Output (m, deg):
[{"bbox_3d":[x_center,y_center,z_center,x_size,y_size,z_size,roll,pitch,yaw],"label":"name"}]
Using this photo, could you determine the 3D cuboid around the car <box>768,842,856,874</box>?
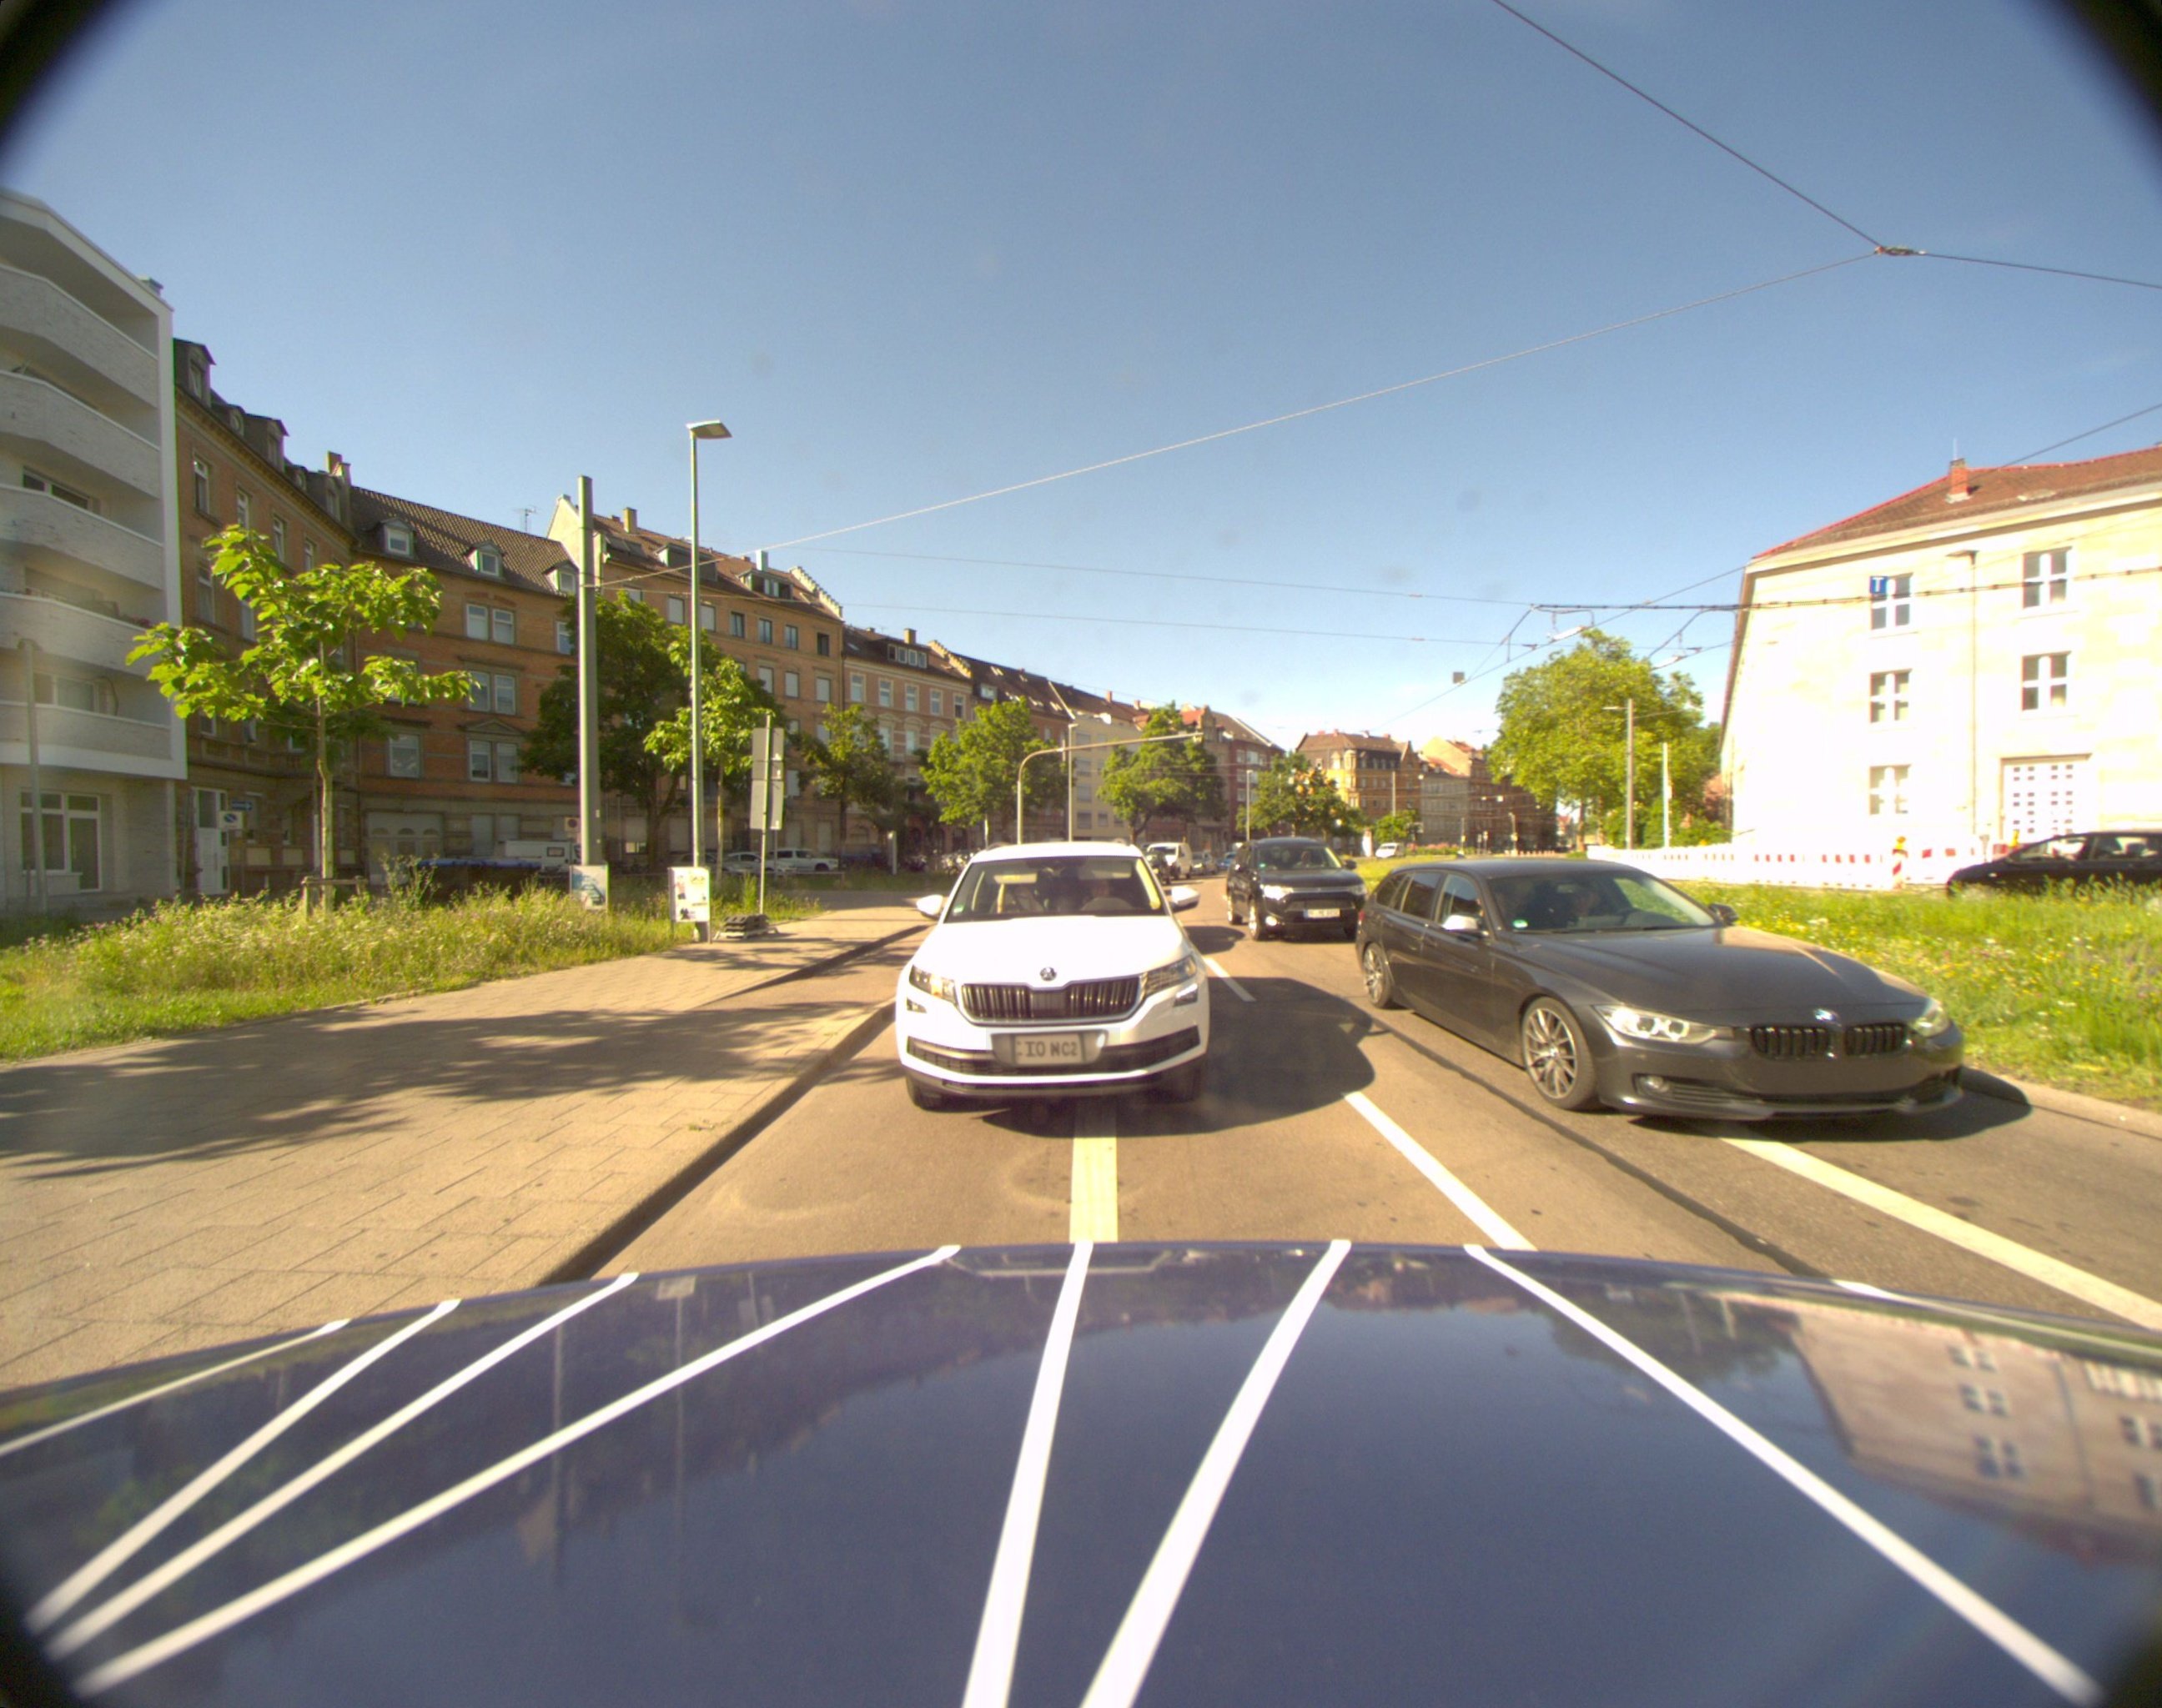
[{"bbox_3d":[-14.589,0.189,41.386,3.996,1.652,2.000,-1,1,3],"label":"car"}]

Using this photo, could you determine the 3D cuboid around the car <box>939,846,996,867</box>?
[{"bbox_3d":[-7.628,0.183,51.233,3.462,1.324,1.732,-1,1,3],"label":"car"}]

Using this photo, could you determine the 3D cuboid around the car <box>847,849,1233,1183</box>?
[{"bbox_3d":[-0.169,0.787,5.905,1.873,1.621,4.338,-1,1,1],"label":"car"}]

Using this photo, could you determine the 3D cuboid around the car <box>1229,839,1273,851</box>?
[{"bbox_3d":[18.900,-0.982,84.590,4.397,1.203,2.000,-1,1,3],"label":"car"}]

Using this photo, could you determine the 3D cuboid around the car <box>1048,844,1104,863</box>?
[{"bbox_3d":[-0.340,-0.031,61.272,4.397,1.453,2.000,-1,1,2],"label":"car"}]

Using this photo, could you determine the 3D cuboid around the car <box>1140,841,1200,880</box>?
[{"bbox_3d":[4.862,0.317,40.749,1.870,1.970,4.662,0,1,24],"label":"car"}]

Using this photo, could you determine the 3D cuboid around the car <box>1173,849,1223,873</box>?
[{"bbox_3d":[7.253,0.425,46.866,1.870,1.377,4.662,-1,1,24],"label":"car"}]

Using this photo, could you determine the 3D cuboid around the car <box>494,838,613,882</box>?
[{"bbox_3d":[-27.017,0.260,39.047,1.994,2.100,4.652,0,1,40],"label":"car"}]

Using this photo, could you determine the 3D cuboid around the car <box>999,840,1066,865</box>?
[{"bbox_3d":[-3.552,-0.119,56.111,4.789,1.761,1.732,-1,1,3],"label":"car"}]

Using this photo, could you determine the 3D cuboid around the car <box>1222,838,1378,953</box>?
[{"bbox_3d":[3.664,0.599,13.483,1.768,1.675,4.328,-2,1,4],"label":"car"}]

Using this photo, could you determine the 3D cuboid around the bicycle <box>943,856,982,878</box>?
[{"bbox_3d":[-5.702,0.616,36.613,1.764,1.018,0.567,-1,1,-26],"label":"bicycle"}]

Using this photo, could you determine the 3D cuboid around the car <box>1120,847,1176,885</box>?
[{"bbox_3d":[3.132,0.523,34.794,1.871,1.605,3.913,-1,1,15],"label":"car"}]

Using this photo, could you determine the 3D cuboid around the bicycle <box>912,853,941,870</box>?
[{"bbox_3d":[-9.349,0.458,45.977,1.757,1.018,0.453,-1,1,26],"label":"bicycle"}]

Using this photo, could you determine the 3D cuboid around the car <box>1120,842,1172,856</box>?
[{"bbox_3d":[5.895,-0.451,68.482,4.393,1.227,2.002,-1,1,13],"label":"car"}]

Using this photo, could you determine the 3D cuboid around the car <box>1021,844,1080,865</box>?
[{"bbox_3d":[-2.301,0.043,58.804,4.397,1.498,2.000,-1,1,2],"label":"car"}]

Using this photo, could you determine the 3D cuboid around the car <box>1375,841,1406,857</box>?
[{"bbox_3d":[31.012,-0.483,76.111,1.869,1.547,4.008,0,1,39],"label":"car"}]

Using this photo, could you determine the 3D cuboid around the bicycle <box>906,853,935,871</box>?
[{"bbox_3d":[-9.492,0.461,45.003,1.757,1.018,0.453,-1,1,26],"label":"bicycle"}]

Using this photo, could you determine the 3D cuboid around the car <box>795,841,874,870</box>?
[{"bbox_3d":[-14.717,0.084,45.515,3.996,1.652,2.000,-1,1,3],"label":"car"}]

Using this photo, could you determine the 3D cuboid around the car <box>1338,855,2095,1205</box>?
[{"bbox_3d":[3.494,0.772,5.521,1.840,1.422,4.484,-2,1,2],"label":"car"}]

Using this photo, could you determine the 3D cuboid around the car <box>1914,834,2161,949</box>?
[{"bbox_3d":[17.183,0.542,12.847,1.769,1.740,3.999,-1,1,-2],"label":"car"}]

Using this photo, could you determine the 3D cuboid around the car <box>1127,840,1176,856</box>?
[{"bbox_3d":[6.655,-0.590,71.339,4.393,1.453,2.002,-1,1,13],"label":"car"}]

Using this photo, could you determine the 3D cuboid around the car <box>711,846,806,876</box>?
[{"bbox_3d":[-16.539,0.335,39.108,3.996,1.455,2.000,-1,1,3],"label":"car"}]

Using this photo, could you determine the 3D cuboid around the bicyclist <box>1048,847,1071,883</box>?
[{"bbox_3d":[-0.852,0.424,30.005,0.697,1.369,0.736,0,3,-18],"label":"bicyclist"}]

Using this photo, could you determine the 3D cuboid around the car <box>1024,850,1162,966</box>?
[{"bbox_3d":[0.188,0.736,12.450,1.873,1.547,4.000,-1,1,1],"label":"car"}]

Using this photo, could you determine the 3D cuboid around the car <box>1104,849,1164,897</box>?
[{"bbox_3d":[1.815,0.607,26.971,1.873,1.547,4.000,-1,1,1],"label":"car"}]

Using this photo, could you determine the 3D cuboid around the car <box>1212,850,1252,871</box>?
[{"bbox_3d":[10.840,0.440,54.301,1.826,1.377,4.662,-1,1,24],"label":"car"}]
